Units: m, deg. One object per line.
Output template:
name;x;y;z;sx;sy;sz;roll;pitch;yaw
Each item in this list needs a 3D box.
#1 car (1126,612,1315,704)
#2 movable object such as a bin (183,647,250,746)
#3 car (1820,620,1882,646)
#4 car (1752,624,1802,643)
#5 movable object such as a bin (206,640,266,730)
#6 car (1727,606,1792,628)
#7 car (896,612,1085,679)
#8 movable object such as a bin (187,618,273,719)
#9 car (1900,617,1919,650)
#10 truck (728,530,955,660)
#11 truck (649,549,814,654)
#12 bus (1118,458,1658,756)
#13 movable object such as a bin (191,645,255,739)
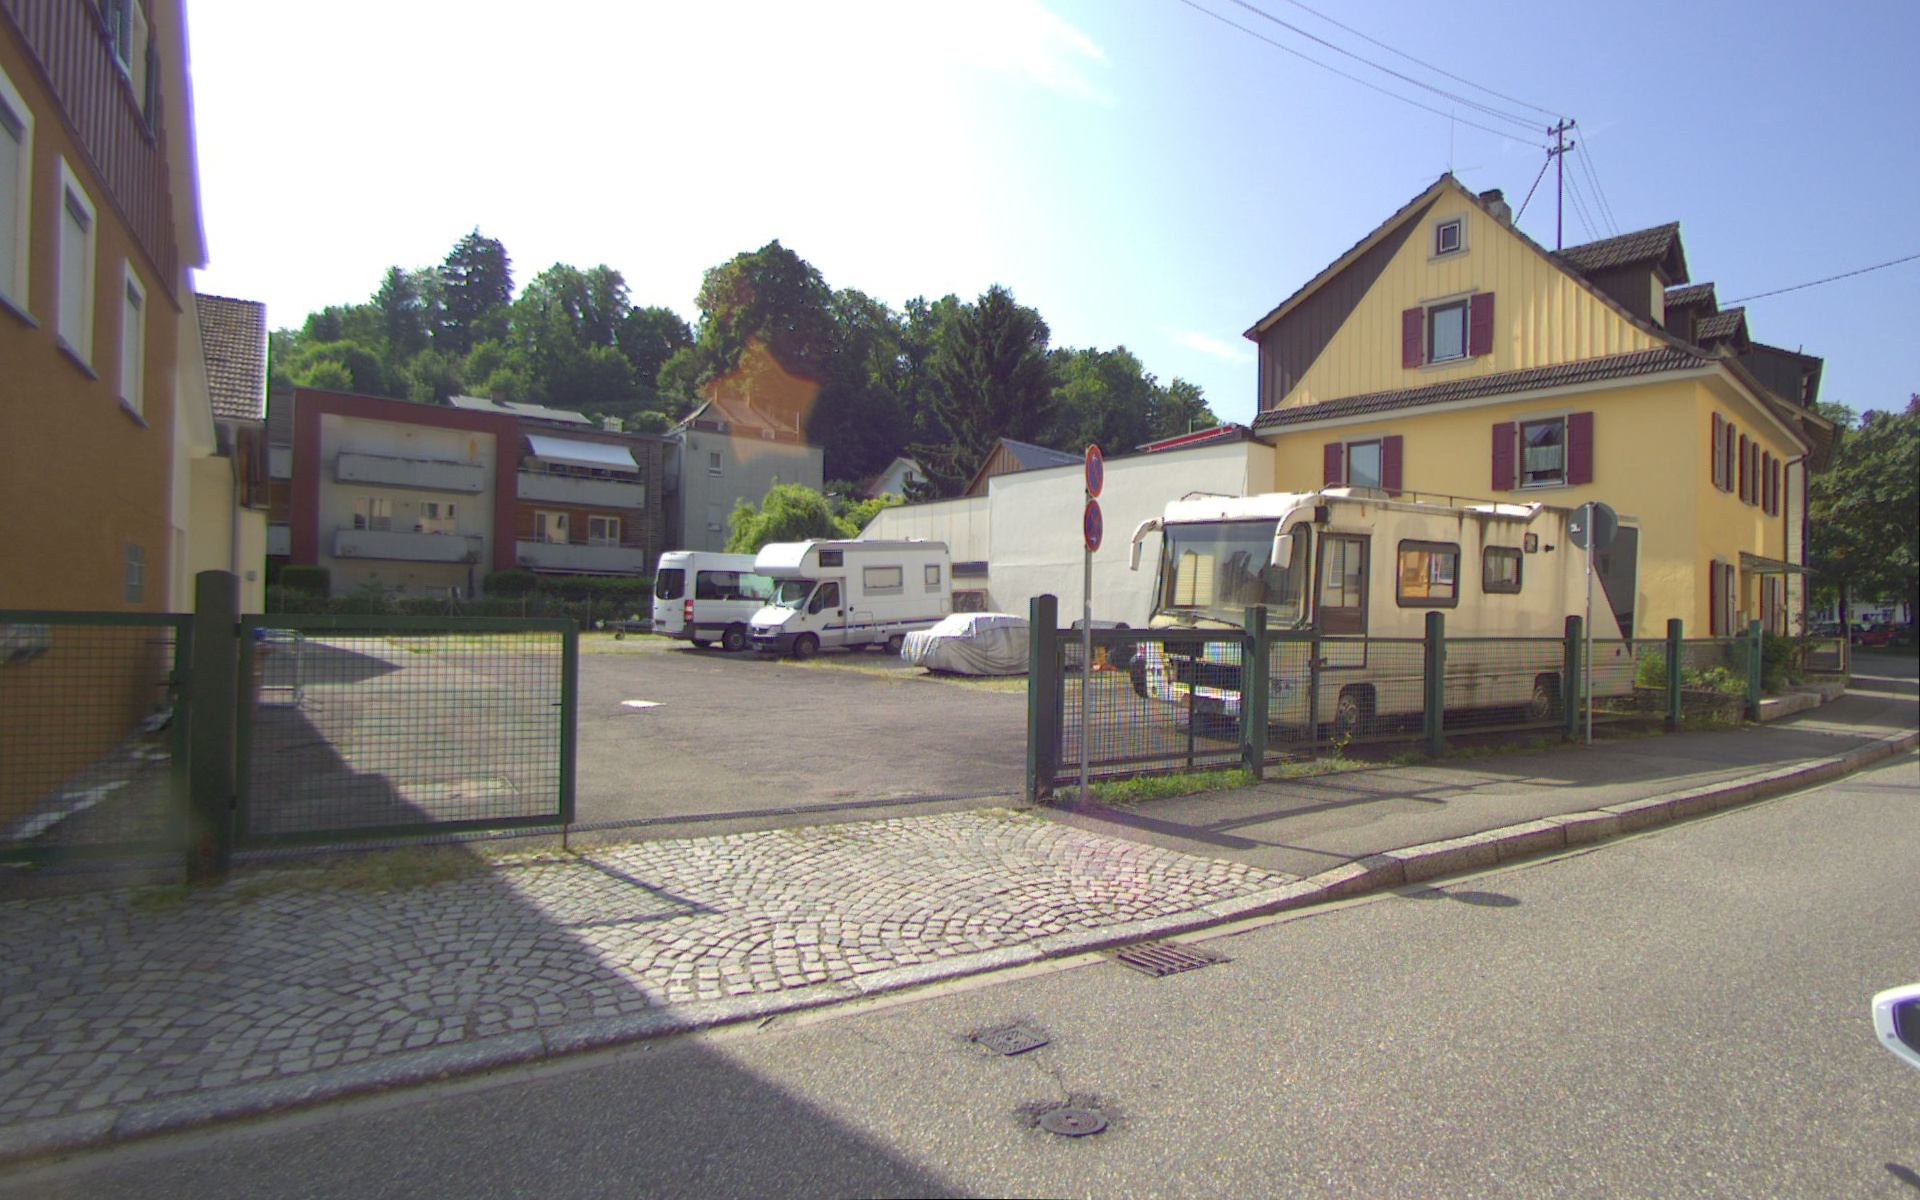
car;4.843;0.991;18.359;1.745;1.451;3.980;2;0;41
movable object such as a bin;-7.433;0.953;10.055;0.480;0.934;0.475;1;0;-31
car;59.360;2.169;66.986;1.680;1.563;4.000;-1;0;19
car;69.522;2.810;85.444;3.946;1.572;1.804;1;-1;-25
movable object such as a bin;-7.996;0.926;11.112;0.480;0.934;0.475;1;0;-31
car;71.122;1.540;89.359;4.616;1.879;1.997;1;-1;-10
car;0.713;0.944;22.012;3.958;1.286;1.584;0;2;-34
movable object such as a bin;-8.416;0.775;11.610;0.736;1.108;0.541;1;0;-31
car;54.667;1.861;56.013;1.792;1.815;4.000;-1;0;19
truck;-3.047;-0.120;26.785;5.698;3.100;2.384;0;1;-43
truck;-6.280;0.010;27.822;4.050;2.688;1.934;0;3;-43
bus;6.613;0.150;14.712;8.941;3.271;2.803;1;0;-34
movable object such as a bin;-7.751;0.950;10.580;0.480;0.934;0.475;1;0;-31
